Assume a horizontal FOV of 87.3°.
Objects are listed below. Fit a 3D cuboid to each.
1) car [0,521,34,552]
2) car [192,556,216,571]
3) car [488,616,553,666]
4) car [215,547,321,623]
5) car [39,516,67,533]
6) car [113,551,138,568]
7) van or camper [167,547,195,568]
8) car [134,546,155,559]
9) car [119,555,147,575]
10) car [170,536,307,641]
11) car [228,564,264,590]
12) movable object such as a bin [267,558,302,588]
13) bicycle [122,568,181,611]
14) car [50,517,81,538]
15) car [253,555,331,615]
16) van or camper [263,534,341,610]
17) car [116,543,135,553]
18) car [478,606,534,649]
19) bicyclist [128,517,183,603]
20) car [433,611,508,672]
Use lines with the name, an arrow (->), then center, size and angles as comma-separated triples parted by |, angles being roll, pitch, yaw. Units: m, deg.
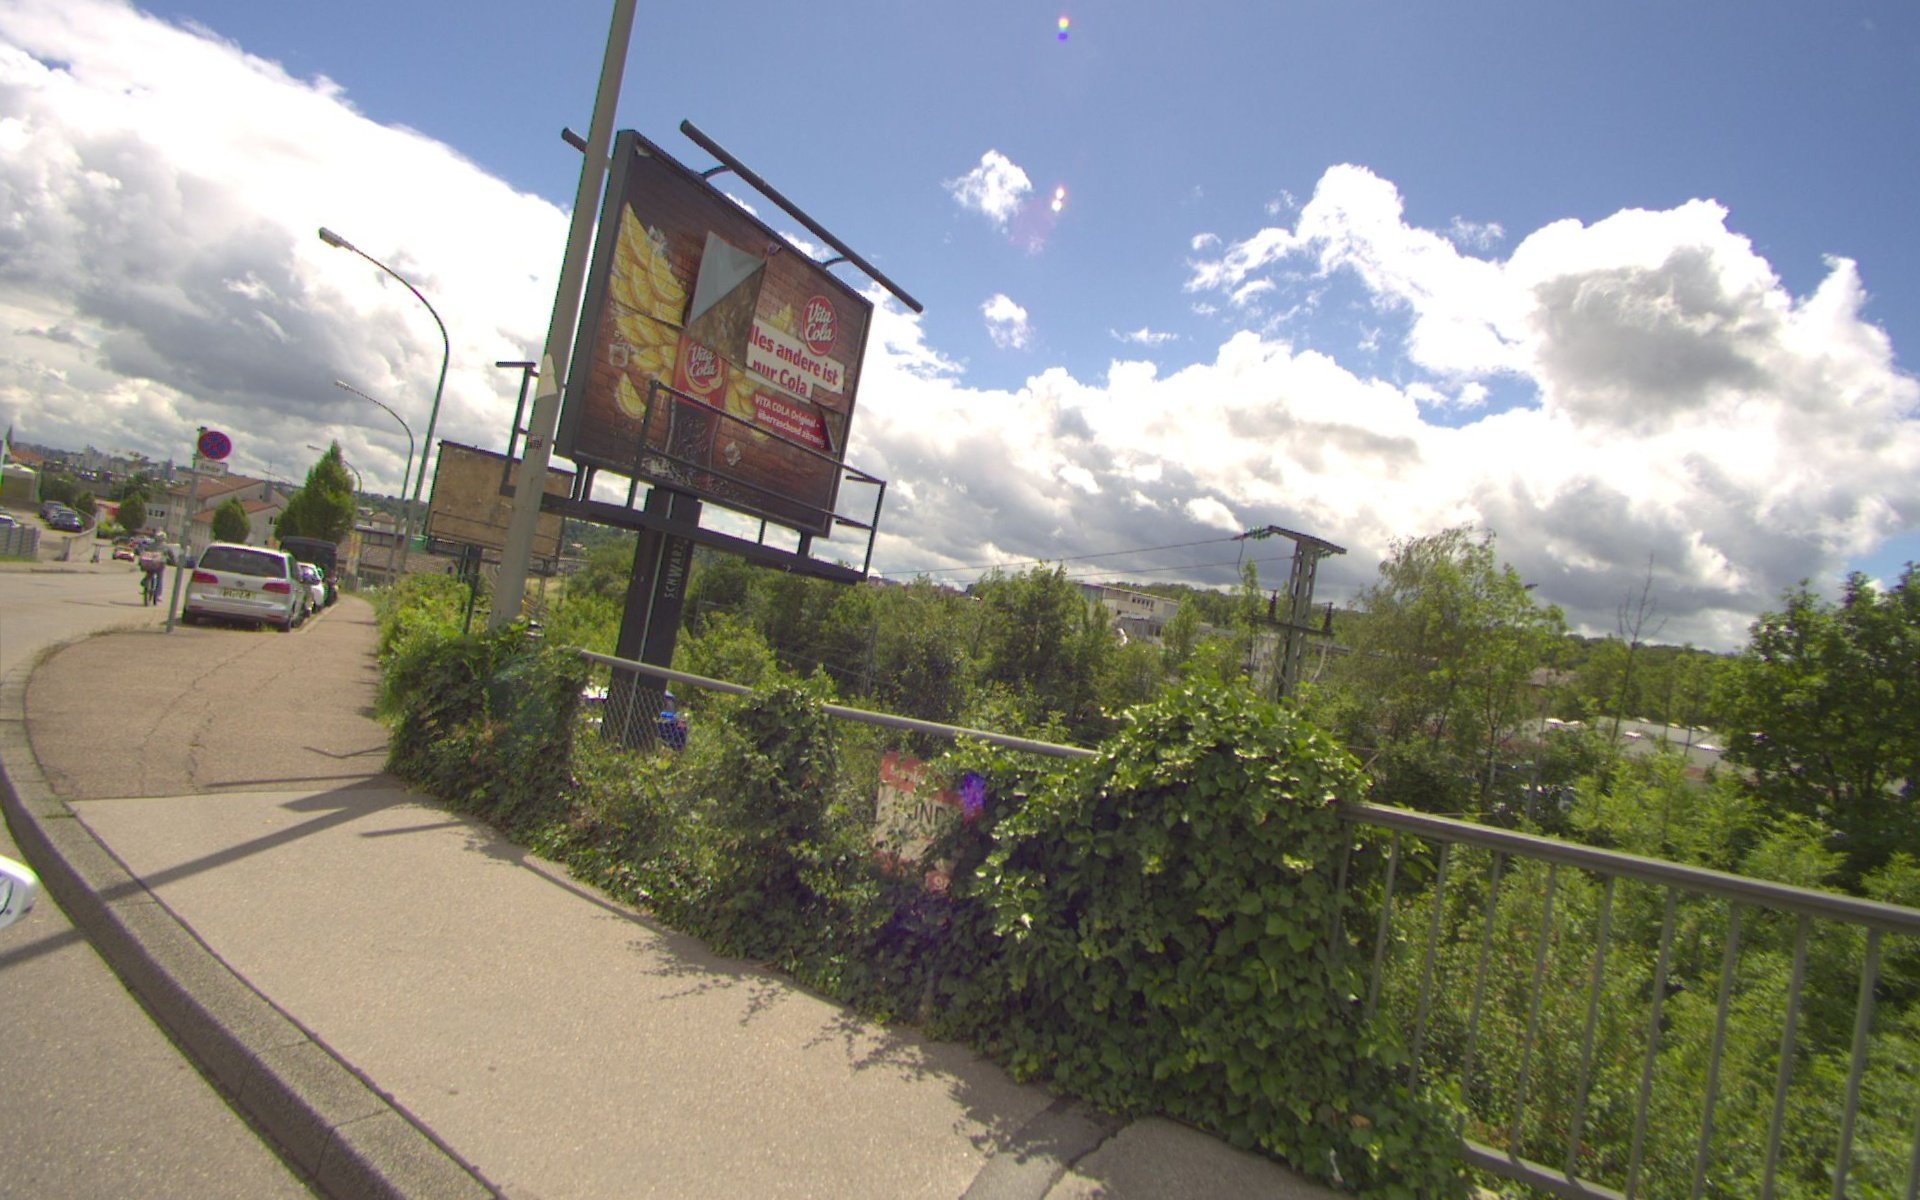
car -> -58.391, -3.917, 61.904 | 1.842, 1.670, 3.951 | 7, -2, -44
car -> -88.315, -4.244, 117.502 | 1.984, 1.481, 3.960 | 7, -2, -38
car -> -17.968, 1.620, 41.044 | 1.695, 1.527, 4.495 | 10, -3, -31
car -> -17.271, -0.400, 25.286 | 1.695, 1.503, 4.538 | 10, -3, -31
car -> -83.767, -6.956, 92.882 | 1.666, 1.339, 3.672 | 7, -3, -44
car -> -90.518, -4.425, 109.096 | 1.703, 1.592, 3.953 | 7, -2, -43
van or camper -> -95.691, -5.224, 123.589 | 1.992, 2.034, 3.951 | 12, -5, -44
car -> -115.895, -6.772, 142.986 | 1.987, 1.481, 3.953 | 7, -3, -43
car -> -77.463, -3.316, 94.204 | 1.697, 1.580, 4.277 | 8, -3, -42
car -> -14.599, -0.250, 20.580 | 1.695, 1.696, 4.275 | 10, -3, -31
car -> -52.786, -1.705, 74.359 | 1.983, 1.637, 3.962 | 7, -2, -36
movable object such as a bin -> -58.664, -2.389, 87.336 | 2.125, 2.330, 2.531 | 7, -2, -39
bicycle -> -18.550, -0.249, 23.127 | 0.682, 0.888, 2.086 | 6, -2, -30
car -> -71.264, -5.741, 80.128 | 1.665, 1.338, 3.676 | 9, -4, -42
car -> -20.709, -0.480, 31.307 | 1.695, 1.495, 3.926 | 10, -3, -32
van or camper -> -26.709, -1.098, 40.996 | 2.110, 2.614, 5.873 | 8, -3, -31
car -> -132.022, -8.234, 159.090 | 1.988, 1.436, 3.952 | 8, -3, -44
car -> -20.327, 1.203, 45.008 | 1.695, 1.527, 3.668 | 10, -3, -31
bicyclist -> -18.490, -0.904, 23.136 | 0.679, 1.847, 1.072 | 6, -1, -30
car -> -15.959, 1.323, 32.717 | 1.695, 1.527, 3.668 | 10, -3, -31
